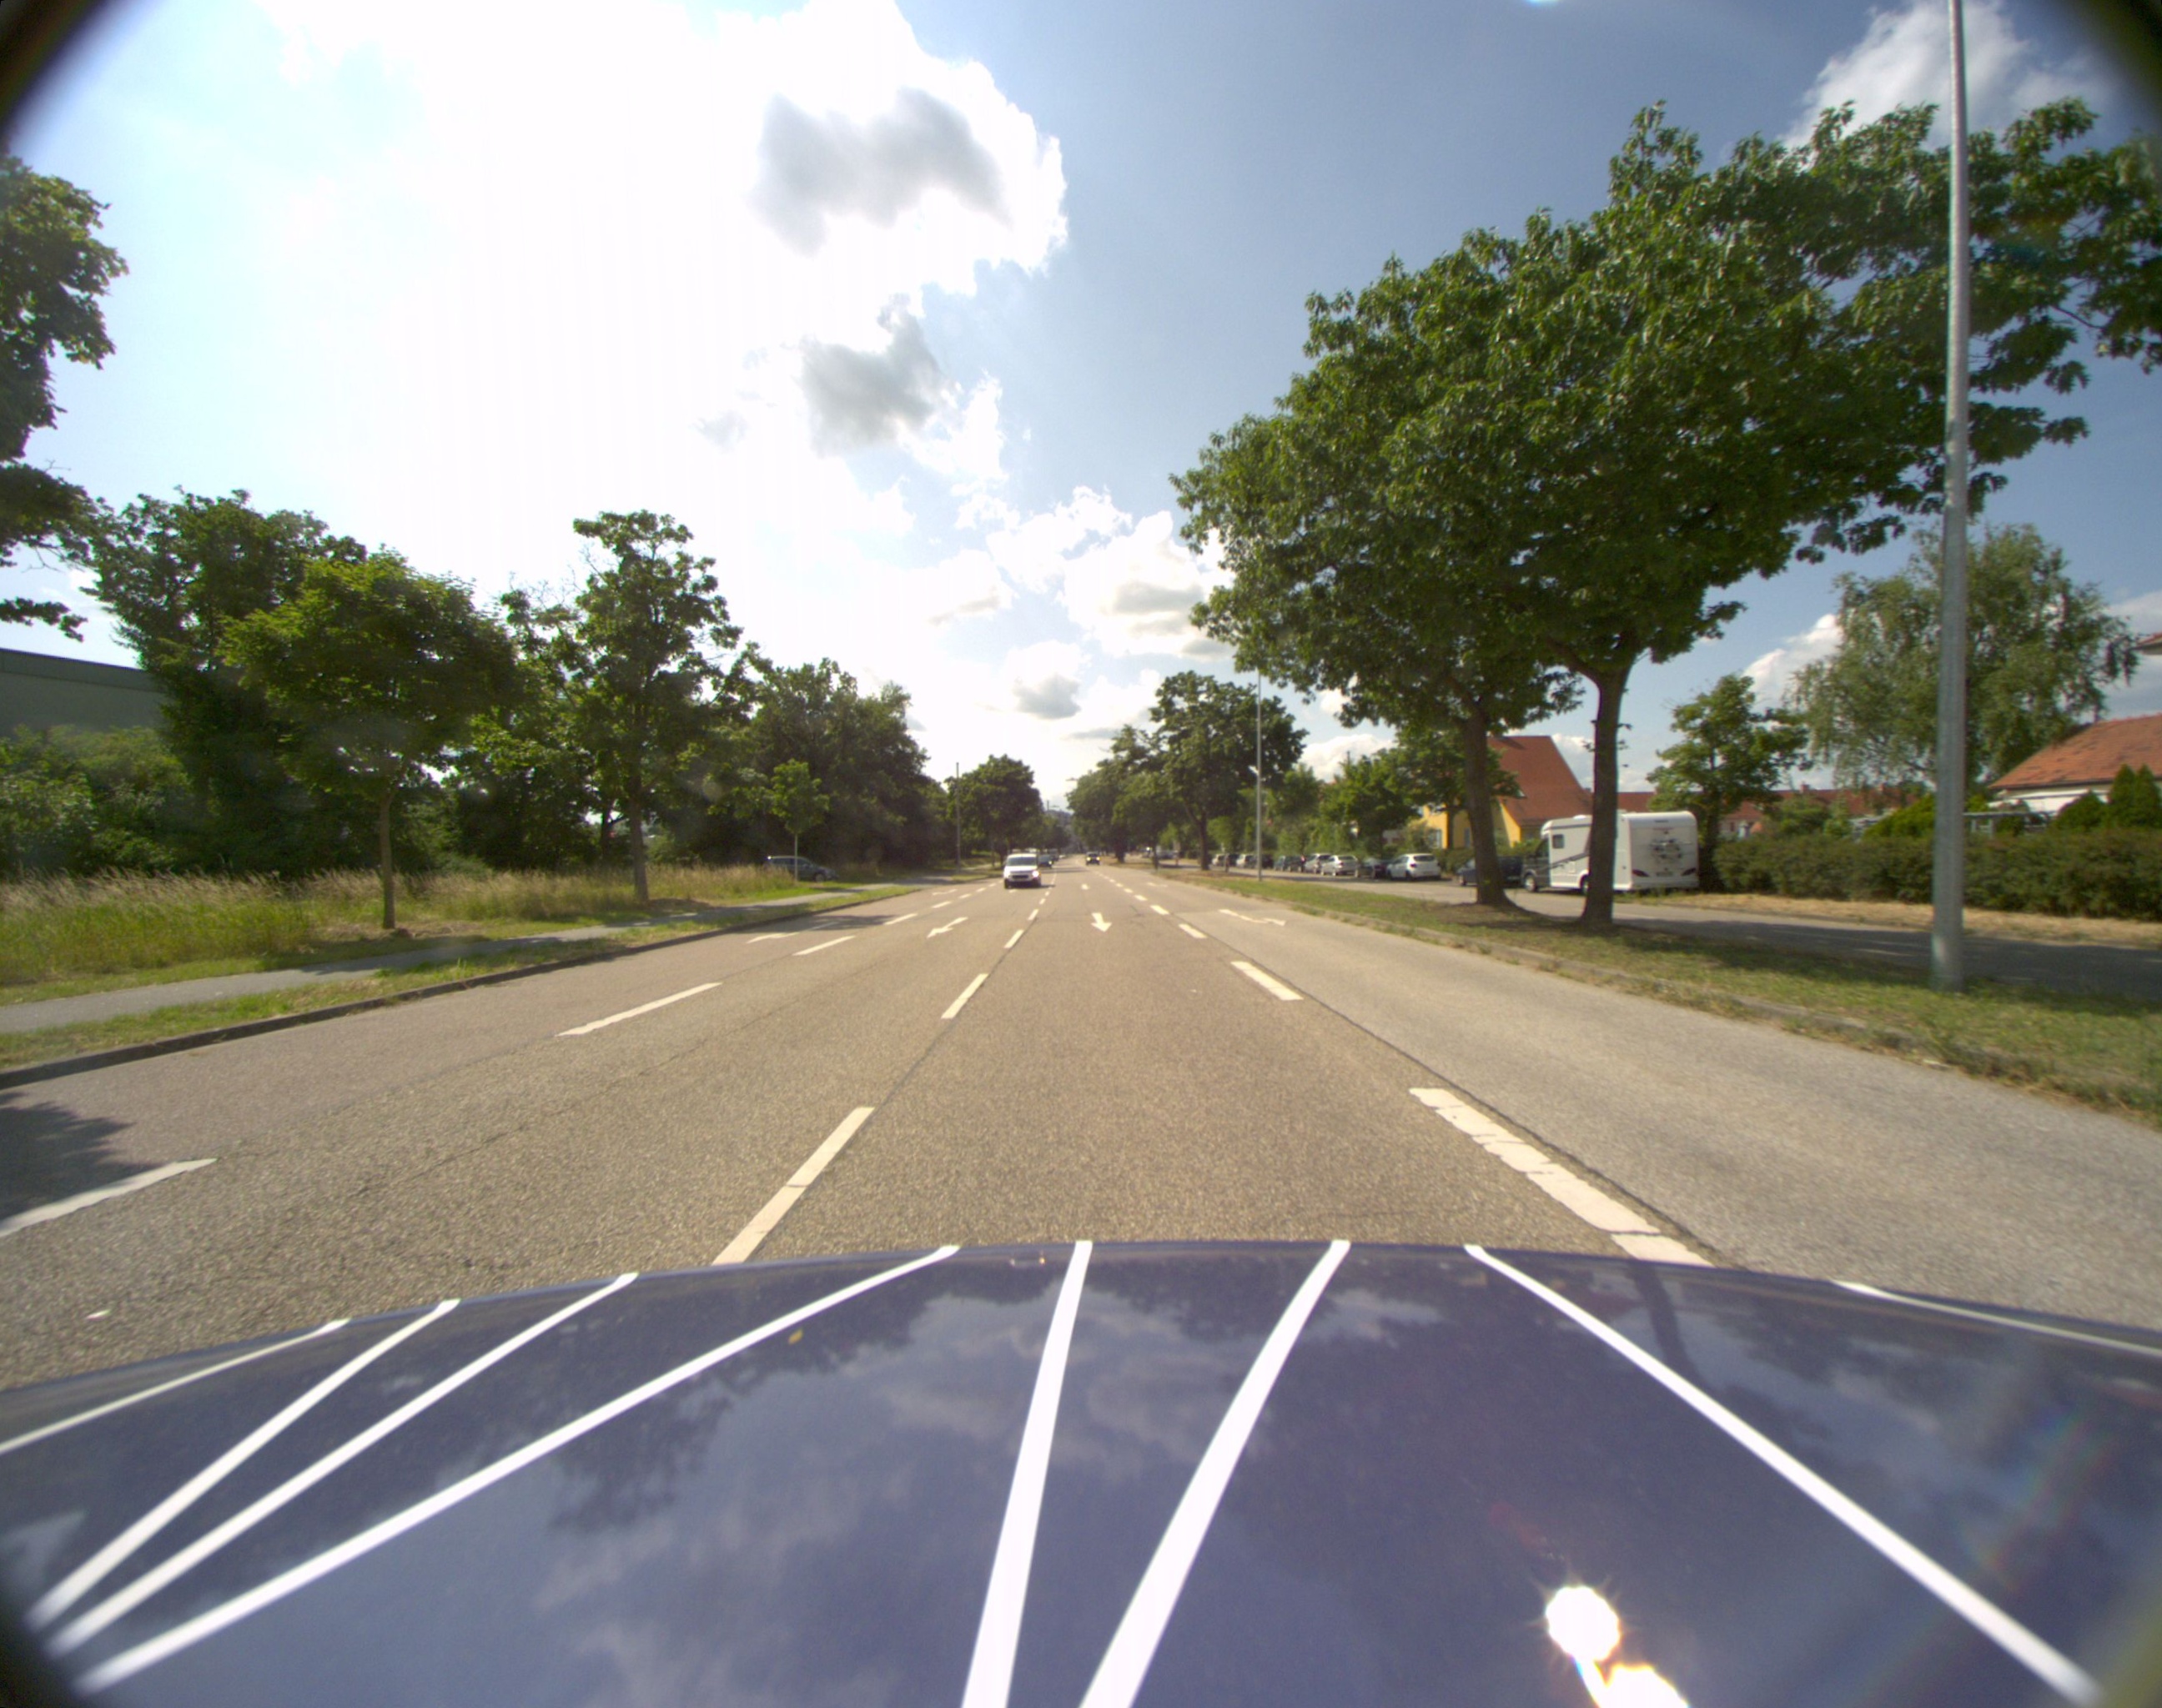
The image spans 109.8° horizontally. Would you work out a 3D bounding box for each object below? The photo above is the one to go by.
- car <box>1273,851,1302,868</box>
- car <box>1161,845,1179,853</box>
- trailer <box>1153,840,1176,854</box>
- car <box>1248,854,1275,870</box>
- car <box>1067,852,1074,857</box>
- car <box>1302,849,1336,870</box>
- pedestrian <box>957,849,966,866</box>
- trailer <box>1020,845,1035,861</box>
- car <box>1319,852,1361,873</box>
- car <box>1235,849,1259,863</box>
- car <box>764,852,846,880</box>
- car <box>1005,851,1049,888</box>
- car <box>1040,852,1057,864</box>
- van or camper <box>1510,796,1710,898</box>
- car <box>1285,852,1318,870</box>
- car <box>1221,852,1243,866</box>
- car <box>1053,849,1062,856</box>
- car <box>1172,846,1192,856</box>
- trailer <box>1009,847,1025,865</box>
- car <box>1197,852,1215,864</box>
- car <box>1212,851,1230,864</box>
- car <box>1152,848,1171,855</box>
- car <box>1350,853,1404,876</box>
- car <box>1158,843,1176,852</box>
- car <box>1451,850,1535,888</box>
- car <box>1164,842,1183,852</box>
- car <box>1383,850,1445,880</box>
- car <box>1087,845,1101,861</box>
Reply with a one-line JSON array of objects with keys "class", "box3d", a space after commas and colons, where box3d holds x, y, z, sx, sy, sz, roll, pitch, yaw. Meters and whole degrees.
[{"class": "car", "box3d": [18.796, 0.477, 69.264, 1.566, 1.387, 3.476, -3, 1, -1]}, {"class": "car", "box3d": [19.670, -1.111, 167.922, 4.007, 1.390, 1.569, -4, 2, -43]}, {"class": "trailer", "box3d": [20.659, -1.699, 187.622, 2.820, 3.090, 5.764, -2, 0, 37]}, {"class": "car", "box3d": [18.465, 0.819, 77.939, 1.665, 1.473, 4.102, -3, 0, -2]}, {"class": "car", "box3d": [-2.898, 0.124, 203.940, 1.799, 1.501, 4.000, -1, 0, 1]}, {"class": "car", "box3d": [18.722, 0.399, 59.851, 1.406, 1.548, 3.741, -3, 1, -1]}, {"class": "pedestrian", "box3d": [-12.450, 0.384, 79.294, 0.719, 1.784, 0.739, -3, 2, -2]}, {"class": "trailer", "box3d": [-8.606, -0.173, 123.195, 1.999, 2.352, 4.780, 3, 1, -1]}, {"class": "car", "box3d": [18.545, 0.594, 54.550, 1.514, 1.362, 4.531, -3, 0, 1]}, {"class": "car", "box3d": [18.591, 0.237, 85.111, 1.665, 1.443, 3.845, -3, 1, -2]}, {"class": "car", "box3d": [-16.413, 0.734, 45.344, 4.175, 1.484, 1.784, 2, -1, -5]}, {"class": "car", "box3d": [-2.830, 0.754, 40.673, 1.935, 1.774, 4.715, -3, 0, 0]}, {"class": "car", "box3d": [-3.964, 0.511, 92.848, 1.892, 1.281, 3.998, -3, 1, -2]}, {"class": "van or camper", "box3d": [18.596, -0.208, 27.401, 2.264, 3.094, 7.321, -3, 0, 3]}, {"class": "car", "box3d": [18.618, 0.540, 64.299, 1.406, 1.387, 4.356, -3, 0, -1]}, {"class": "car", "box3d": [18.421, 0.577, 92.716, 1.665, 1.603, 4.313, -3, 1, -2]}, {"class": "car", "box3d": [-4.929, -0.310, 158.511, 1.892, 1.281, 3.998, -3, 1, -2]}, {"class": "car", "box3d": [20.346, -0.643, 152.403, 4.008, 1.849, 1.800, -2, 0, -43]}, {"class": "trailer", "box3d": [-8.539, 0.240, 102.375, 1.958, 2.338, 4.604, 0, 1, -2]}, {"class": "car", "box3d": [18.038, 0.560, 109.654, 1.772, 1.543, 3.998, -3, 1, -2]}, {"class": "car", "box3d": [18.237, 0.442, 98.960, 1.598, 1.453, 3.534, -3, 1, -2]}, {"class": "car", "box3d": [18.599, -0.613, 175.589, 3.997, 1.502, 1.799, -3, 1, 0]}, {"class": "car", "box3d": [18.626, 0.634, 47.993, 1.640, 1.298, 4.584, -3, 0, 1]}, {"class": "car", "box3d": [19.240, -1.462, 170.771, 4.007, 2.002, 1.800, -4, 2, -43]}, {"class": "car", "box3d": [18.546, 0.634, 34.377, 1.640, 1.477, 3.992, -3, 1, 1]}, {"class": "car", "box3d": [19.844, -1.519, 162.604, 4.007, 2.002, 1.800, -4, 2, -43]}, {"class": "car", "box3d": [18.681, 0.601, 42.789, 1.693, 1.477, 4.123, -3, 1, 1]}, {"class": "car", "box3d": [1.764, -0.152, 101.811, 1.768, 1.893, 4.540, -3, 1, 1]}]
